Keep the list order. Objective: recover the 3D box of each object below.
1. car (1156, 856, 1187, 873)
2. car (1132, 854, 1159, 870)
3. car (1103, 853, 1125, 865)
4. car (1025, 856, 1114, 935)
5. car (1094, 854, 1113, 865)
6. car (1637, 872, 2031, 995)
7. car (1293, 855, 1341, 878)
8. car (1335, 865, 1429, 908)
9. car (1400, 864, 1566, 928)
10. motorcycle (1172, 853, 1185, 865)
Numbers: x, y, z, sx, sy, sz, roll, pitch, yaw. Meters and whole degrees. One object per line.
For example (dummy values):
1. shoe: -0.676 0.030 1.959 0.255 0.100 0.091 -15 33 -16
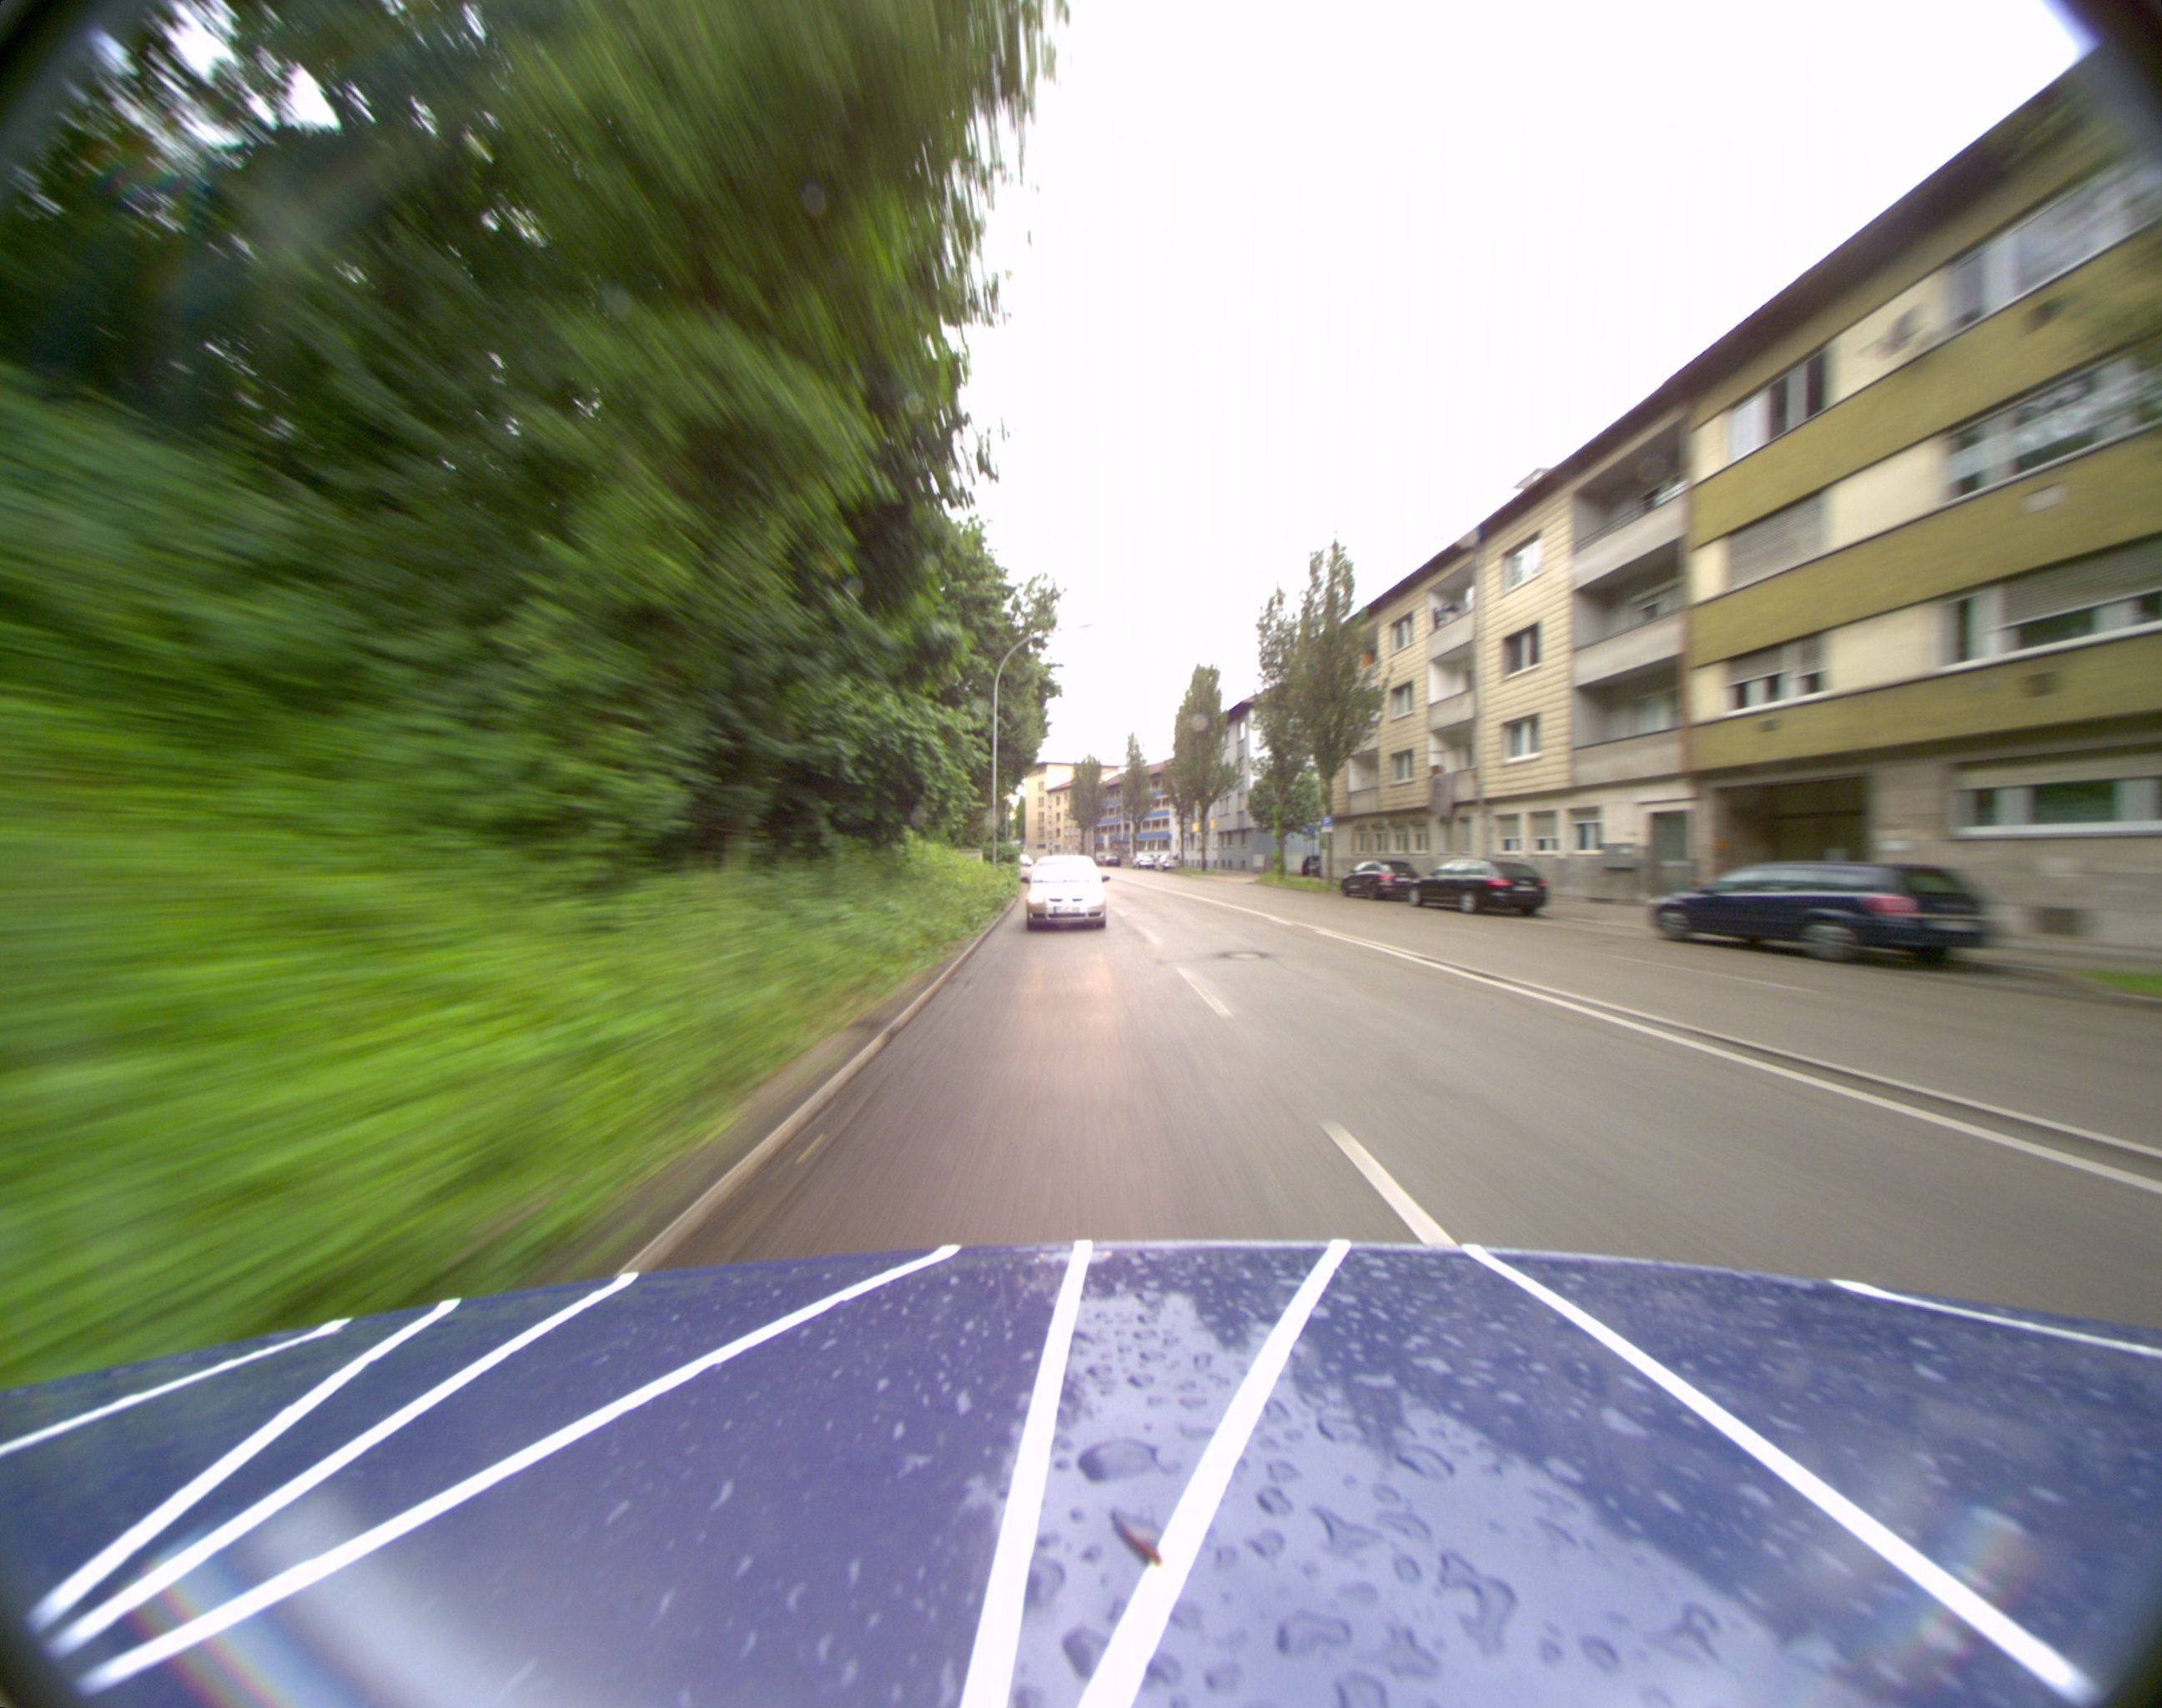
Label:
1. car: 7.935 0.908 67.297 1.730 1.444 4.202 1 0 -7
2. car: 6.646 0.770 78.323 1.769 1.594 4.530 1 0 -8
3. car: 4.117 0.622 96.517 1.827 1.431 4.888 2 0 -9
4. car: -0.318 0.835 17.270 1.753 1.510 3.999 -2 0 -3
5. car: 2.992 0.762 102.327 1.786 1.394 4.085 2 0 -10
6. car: 11.604 1.109 12.290 1.723 1.480 4.513 2 0 -3
7. car: 16.219 0.833 52.124 1.708 1.486 4.009 3 2 40
8. car: 10.751 1.114 27.448 1.630 1.379 3.987 1 0 -3
9. car: 11.002 1.089 21.276 1.823 1.480 4.788 2 0 -4
10. motorcycle: 11.572 0.609 90.544 0.677 1.406 2.233 -3 1 -16
